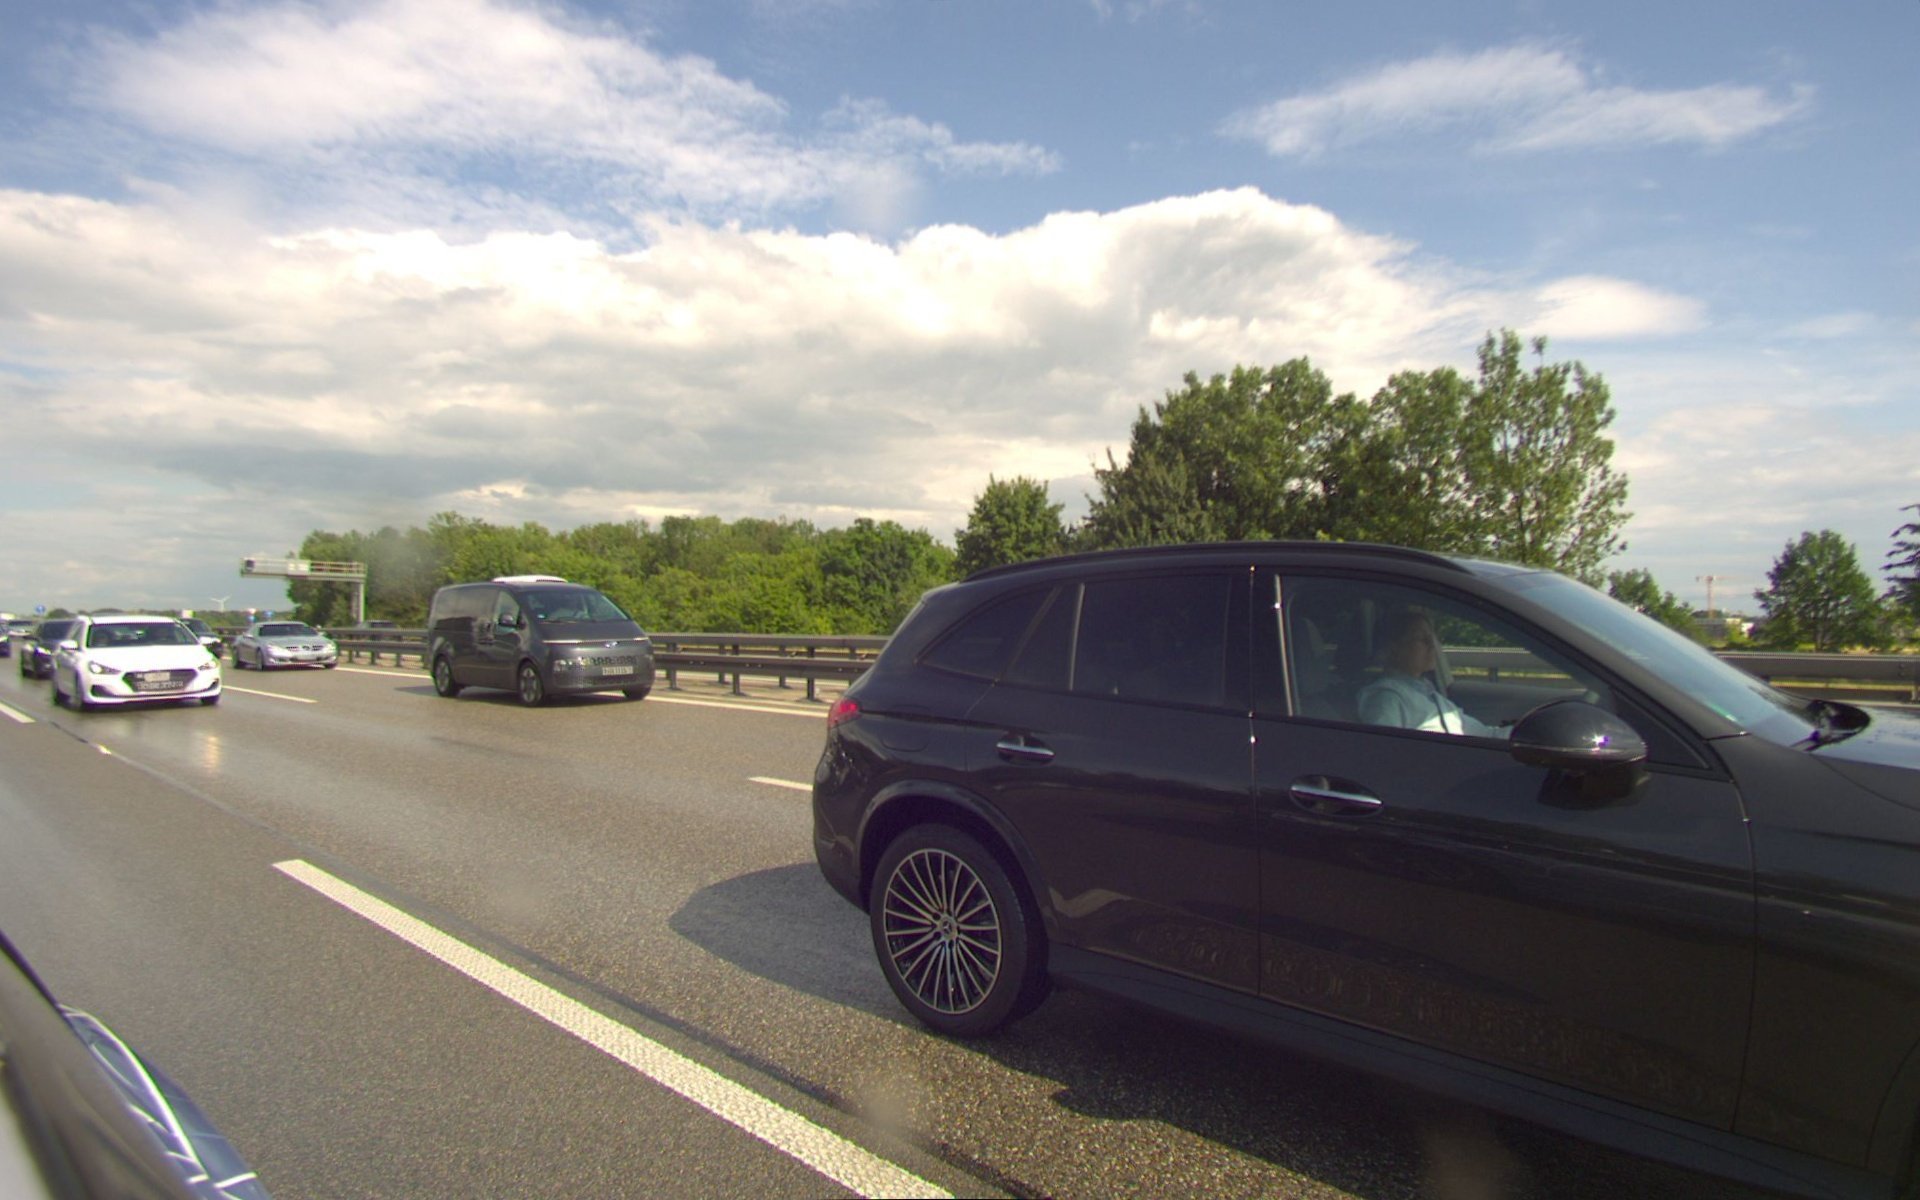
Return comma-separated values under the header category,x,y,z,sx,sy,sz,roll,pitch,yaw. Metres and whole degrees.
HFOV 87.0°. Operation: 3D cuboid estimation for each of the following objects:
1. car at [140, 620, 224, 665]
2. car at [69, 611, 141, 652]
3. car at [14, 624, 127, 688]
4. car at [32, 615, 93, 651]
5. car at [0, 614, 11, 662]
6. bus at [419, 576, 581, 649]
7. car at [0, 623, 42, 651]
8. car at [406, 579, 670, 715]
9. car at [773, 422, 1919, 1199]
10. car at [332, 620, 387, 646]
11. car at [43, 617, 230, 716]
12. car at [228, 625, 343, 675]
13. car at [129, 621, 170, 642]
category,x,y,z,sx,sy,sz,roll,pitch,yaw
car,-26.571,1.410,34.515,3.999,1.431,1.597,-1,-1,42
car,-38.269,1.376,45.285,3.998,1.763,1.876,-1,-1,41
car,-21.660,1.292,24.599,3.998,1.409,1.577,-1,-1,41
car,-46.917,1.697,52.859,3.998,1.763,1.876,-1,-1,41
car,-36.634,1.409,37.406,3.998,1.730,1.865,-1,-1,41
bus,-24.125,0.683,52.558,12.465,3.399,2.861,-1,-1,42
car,-63.575,2.459,68.323,3.998,1.763,1.876,-1,-1,41
car,-7.153,0.704,16.844,5.234,1.932,1.973,-1,-1,41
car,1.609,0.544,3.144,4.624,1.692,1.857,-1,-1,41
car,-31.481,1.707,53.036,3.523,1.320,1.632,-1,-1,44
car,-13.536,1.000,16.554,4.240,1.408,1.785,-1,-2,43
car,-18.166,1.298,27.200,3.584,1.198,1.832,-1,-1,44
car,-61.415,2.386,76.696,3.998,1.556,1.781,-1,-1,41
